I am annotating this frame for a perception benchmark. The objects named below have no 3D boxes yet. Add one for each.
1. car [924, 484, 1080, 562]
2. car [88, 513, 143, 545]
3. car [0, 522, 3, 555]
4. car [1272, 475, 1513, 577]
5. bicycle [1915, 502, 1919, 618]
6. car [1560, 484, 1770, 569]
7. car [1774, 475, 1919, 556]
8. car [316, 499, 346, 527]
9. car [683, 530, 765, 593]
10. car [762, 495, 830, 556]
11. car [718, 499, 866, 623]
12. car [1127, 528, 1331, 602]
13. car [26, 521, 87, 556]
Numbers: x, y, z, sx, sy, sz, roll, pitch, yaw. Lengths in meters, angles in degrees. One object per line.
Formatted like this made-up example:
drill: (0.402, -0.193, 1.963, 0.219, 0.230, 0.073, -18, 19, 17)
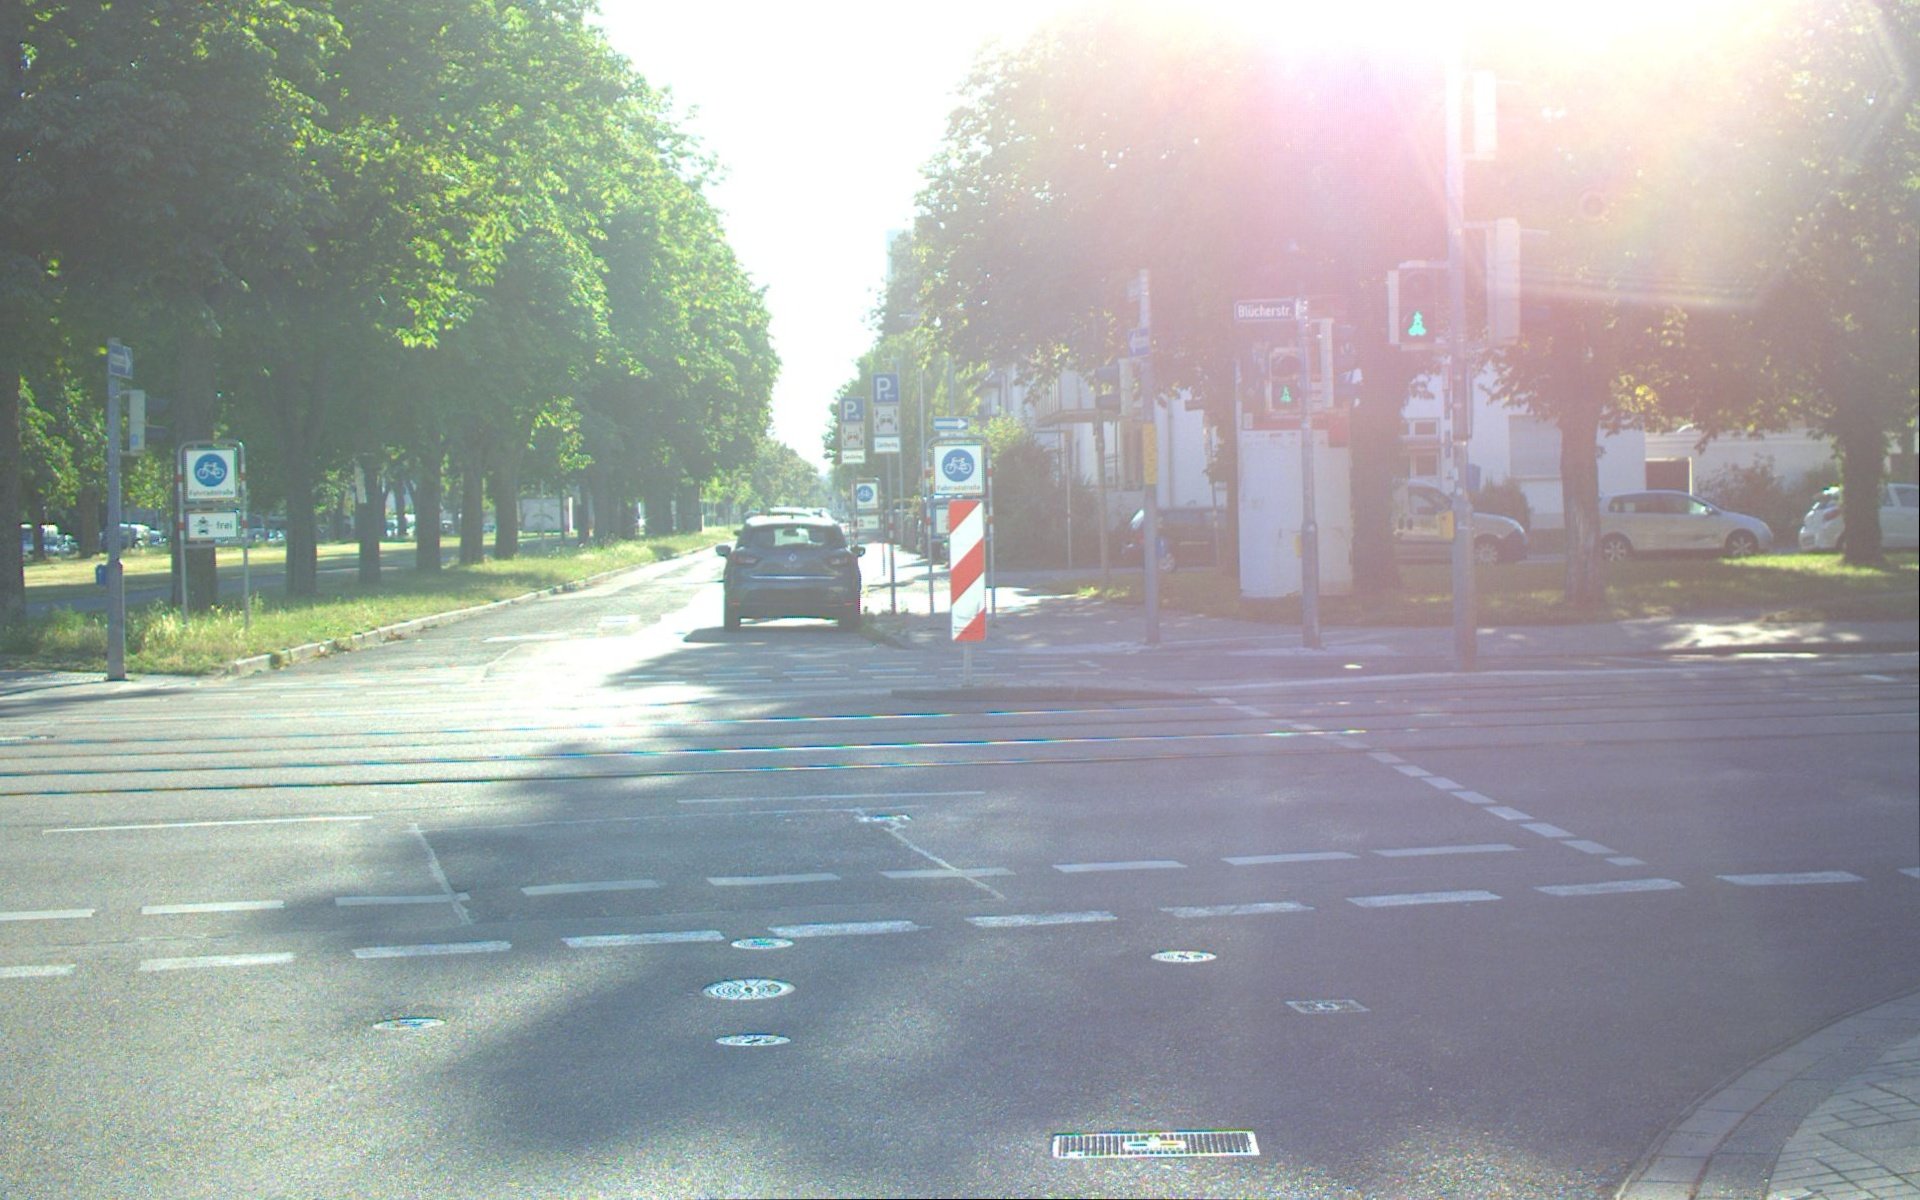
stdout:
car: (1.114, -2.088, 93.362, 3.986, 1.816, 1.760, -2, -4, -6)
car: (-45.945, -3.868, 187.146, 1.993, 1.653, 4.571, -1, 2, -3)
car: (-49.644, -3.109, 172.645, 1.993, 1.653, 4.355, 1, 1, -1)
car: (8.197, -1.398, 65.426, 4.241, 1.868, 2.031, -1, 1, -2)
bicycle: (9.961, -0.392, 32.911, 1.522, 1.085, 0.467, -1, 7, 8)
car: (13.366, -1.395, 65.248, 3.552, 1.510, 1.606, -1, 1, -8)
car: (17.787, -1.614, 65.972, 3.920, 1.518, 1.524, 0, 0, -7)
car: (-46.427, -6.393, 253.816, 1.654, 1.932, 3.568, 1, -1, -3)
car: (-5.351, -0.876, 78.319, 1.709, 1.355, 4.203, 1, 1, -2)
car: (-4.965, -2.252, 103.715, 1.993, 1.775, 4.001, 1, 2, -3)
car: (-2.125, -0.503, 44.569, 1.725, 1.506, 4.541, 1, 1, -1)
car: (5.509, -0.724, 70.789, 3.986, 1.442, 1.716, -1, 1, -2)
car: (-44.028, -3.002, 167.532, 2.022, 1.653, 3.984, 1, 1, -2)
